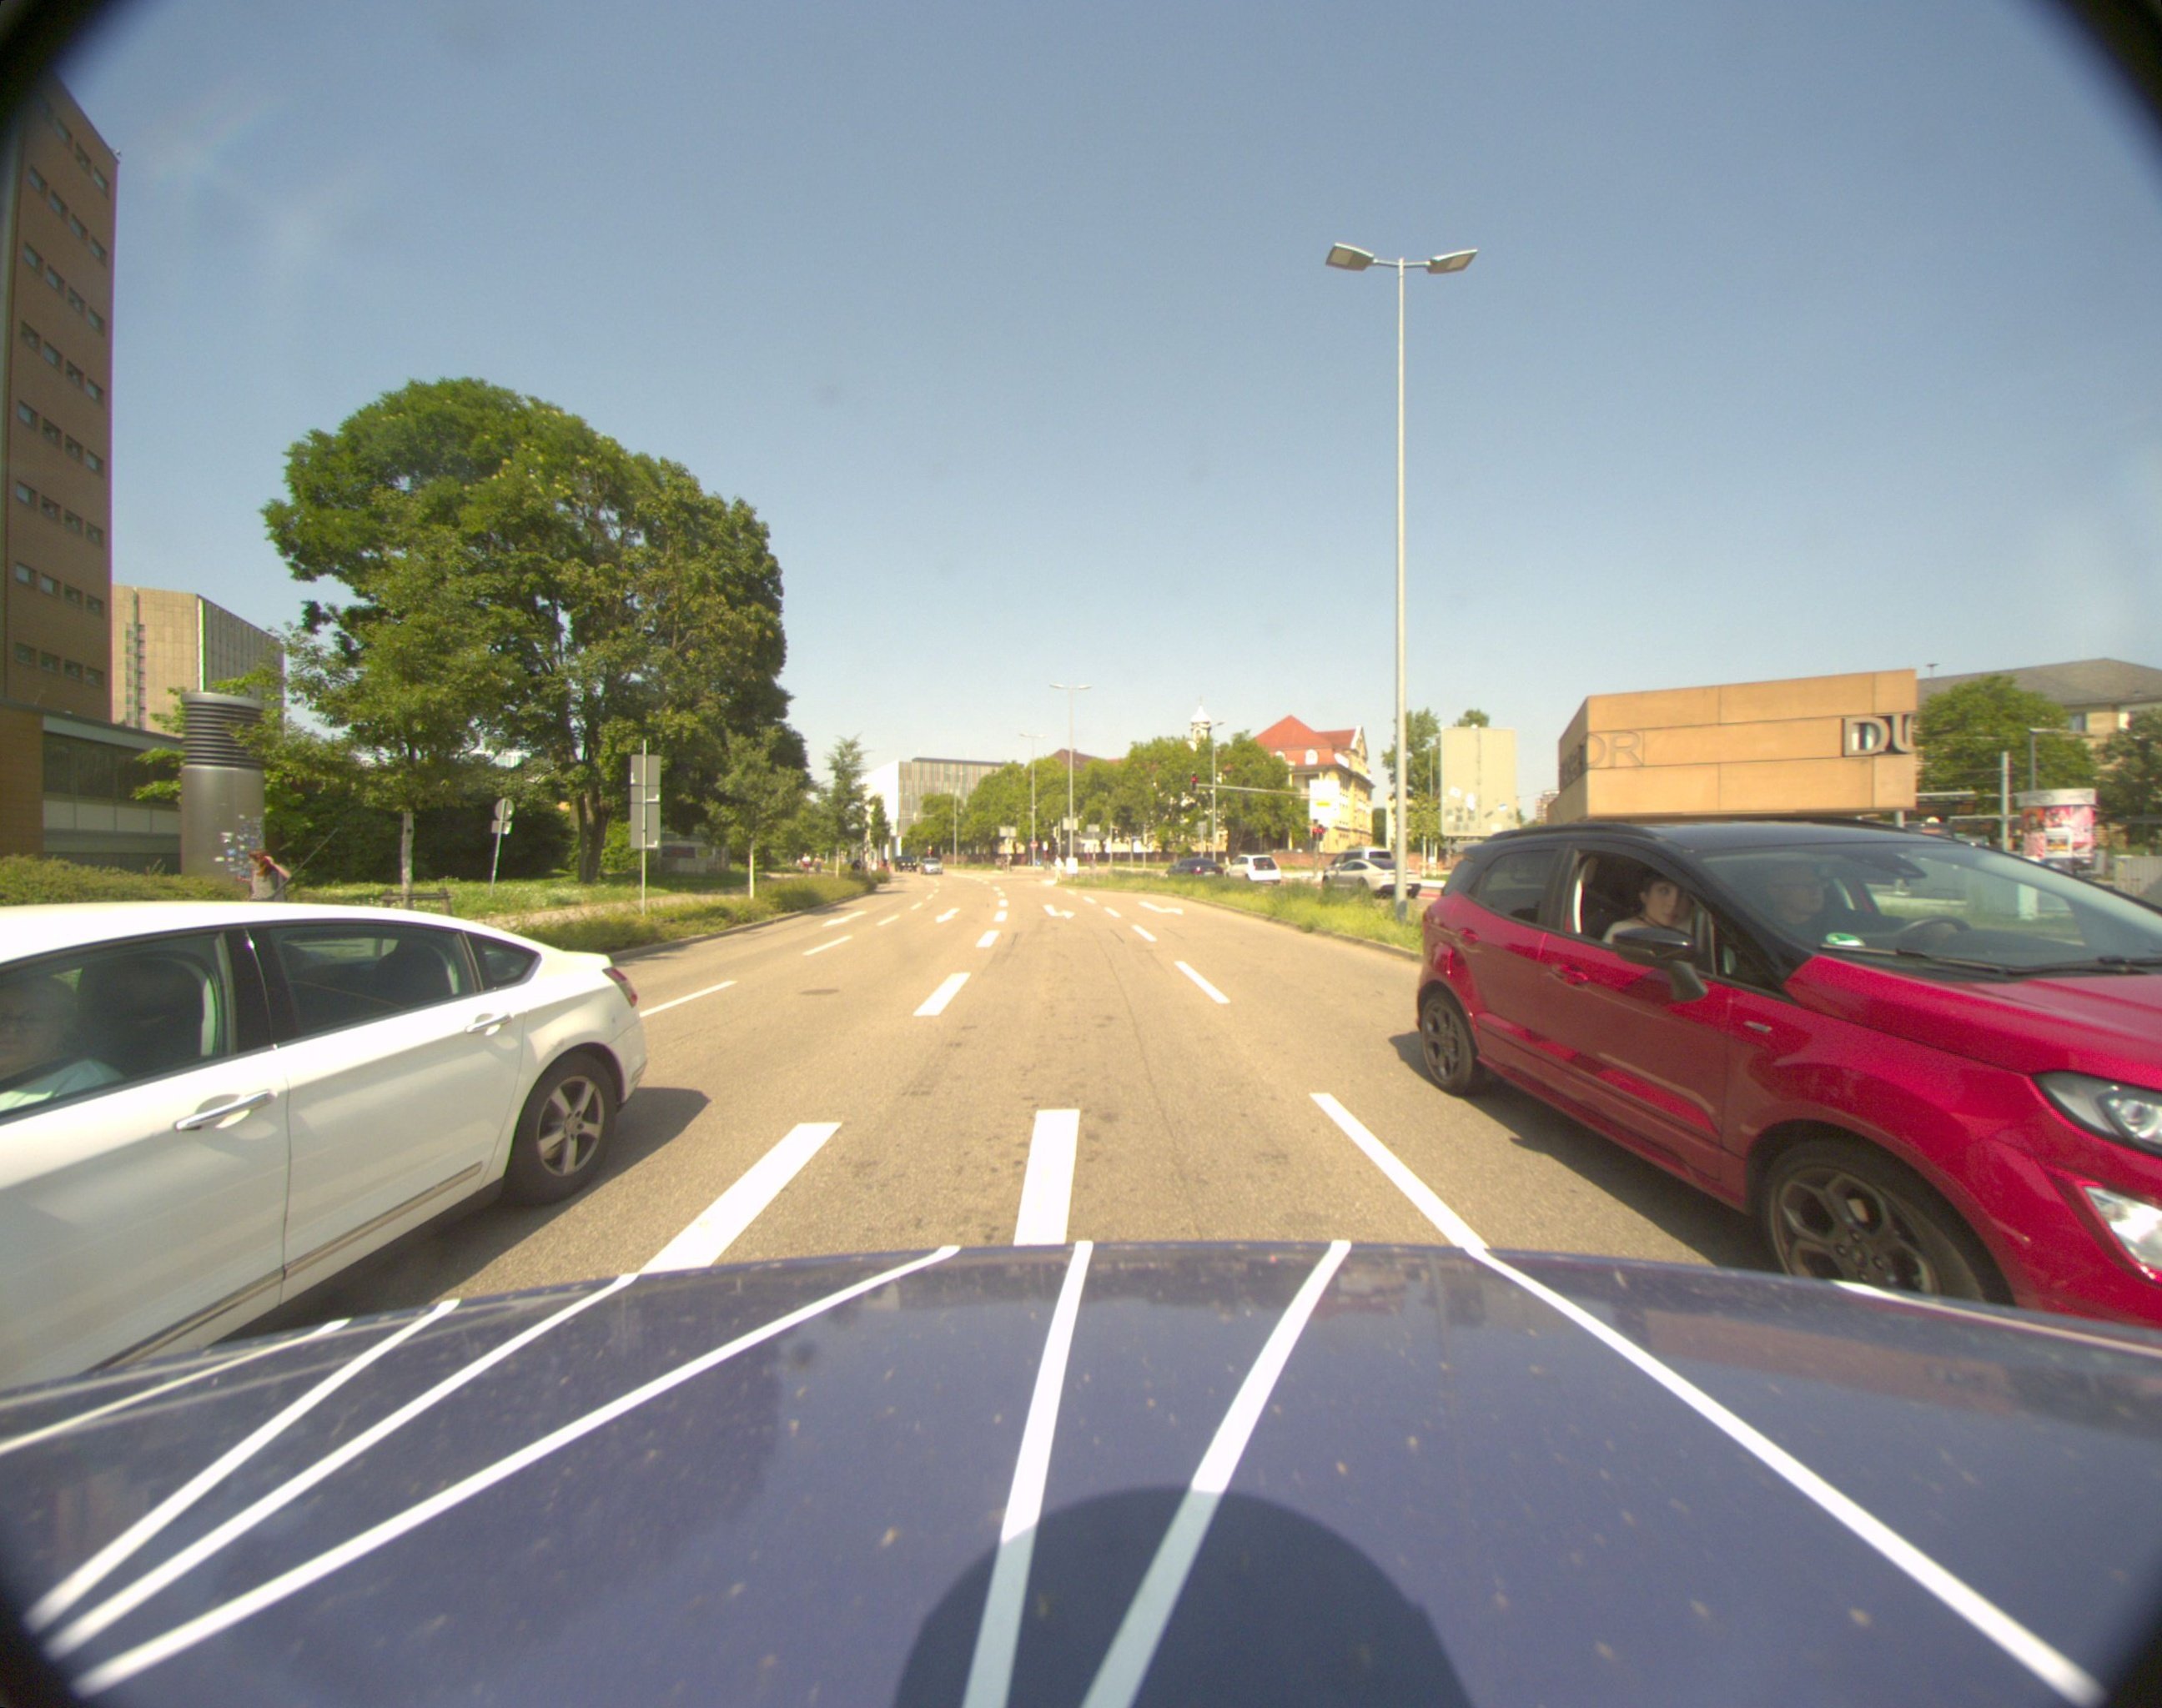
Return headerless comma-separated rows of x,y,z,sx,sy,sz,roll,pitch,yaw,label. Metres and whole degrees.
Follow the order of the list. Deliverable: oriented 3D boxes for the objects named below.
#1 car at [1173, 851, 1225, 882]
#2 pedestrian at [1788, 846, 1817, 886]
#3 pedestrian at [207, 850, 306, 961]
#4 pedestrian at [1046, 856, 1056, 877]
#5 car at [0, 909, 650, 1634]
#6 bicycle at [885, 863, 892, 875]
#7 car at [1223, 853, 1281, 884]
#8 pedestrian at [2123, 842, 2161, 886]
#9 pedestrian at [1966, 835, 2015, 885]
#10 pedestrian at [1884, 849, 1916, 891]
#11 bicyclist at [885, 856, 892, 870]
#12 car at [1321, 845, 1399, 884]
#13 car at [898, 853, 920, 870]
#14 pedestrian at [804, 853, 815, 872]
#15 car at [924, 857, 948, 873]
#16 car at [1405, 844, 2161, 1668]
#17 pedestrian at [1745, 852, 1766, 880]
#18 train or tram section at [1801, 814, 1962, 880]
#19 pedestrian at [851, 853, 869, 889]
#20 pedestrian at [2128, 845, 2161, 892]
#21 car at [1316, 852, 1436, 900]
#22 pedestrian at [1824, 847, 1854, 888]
5.689,0.558,36.920,1.526,1.417,3.474,0,0,-8,car
26.852,0.447,28.271,0.539,1.488,0.541,0,1,-1,pedestrian
-13.067,0.791,12.065,0.672,1.689,0.806,0,0,-2,pedestrian
-1.915,0.795,48.634,0.605,1.291,0.617,-2,1,-4,pedestrian
-3.284,1.024,1.847,1.773,1.420,4.609,0,0,1,car
-19.569,1.487,77.221,0.595,1.162,2.233,0,0,-12,bicycle
8.632,0.694,38.652,1.527,1.470,3.473,0,0,-13,car
41.910,0.374,29.682,1.076,1.686,1.066,0,1,28,pedestrian
27.908,0.179,23.316,0.771,1.488,0.606,0,1,-1,pedestrian
28.881,0.559,26.809,0.539,1.488,0.541,0,1,-1,pedestrian
-19.588,0.913,77.245,0.680,1.392,1.048,-1,1,-12,bicyclist
13.774,0.470,37.758,1.869,1.843,3.911,0,1,-12,car
-20.018,0.862,88.465,1.893,1.908,4.526,-2,0,-20,car
-18.946,0.583,52.951,0.635,1.291,0.486,-3,1,-17,pedestrian
-14.238,1.053,74.225,1.661,1.521,4.526,-2,0,-18,car
2.989,0.780,3.153,1.694,1.577,3.845,-2,0,1,car
26.932,0.466,30.337,0.538,1.093,0.543,0,1,32,pedestrian
48.176,-0.386,46.368,2.698,3.418,13.446,0,0,28,train or tram section
-11.805,0.921,40.609,0.823,1.892,0.630,-1,1,-12,pedestrian
41.881,0.544,29.615,0.927,1.812,0.939,0,1,28,pedestrian
10.603,0.734,27.749,2.000,1.576,4.711,0,0,-8,car
27.883,0.506,27.940,0.539,1.488,0.541,0,1,-1,pedestrian
